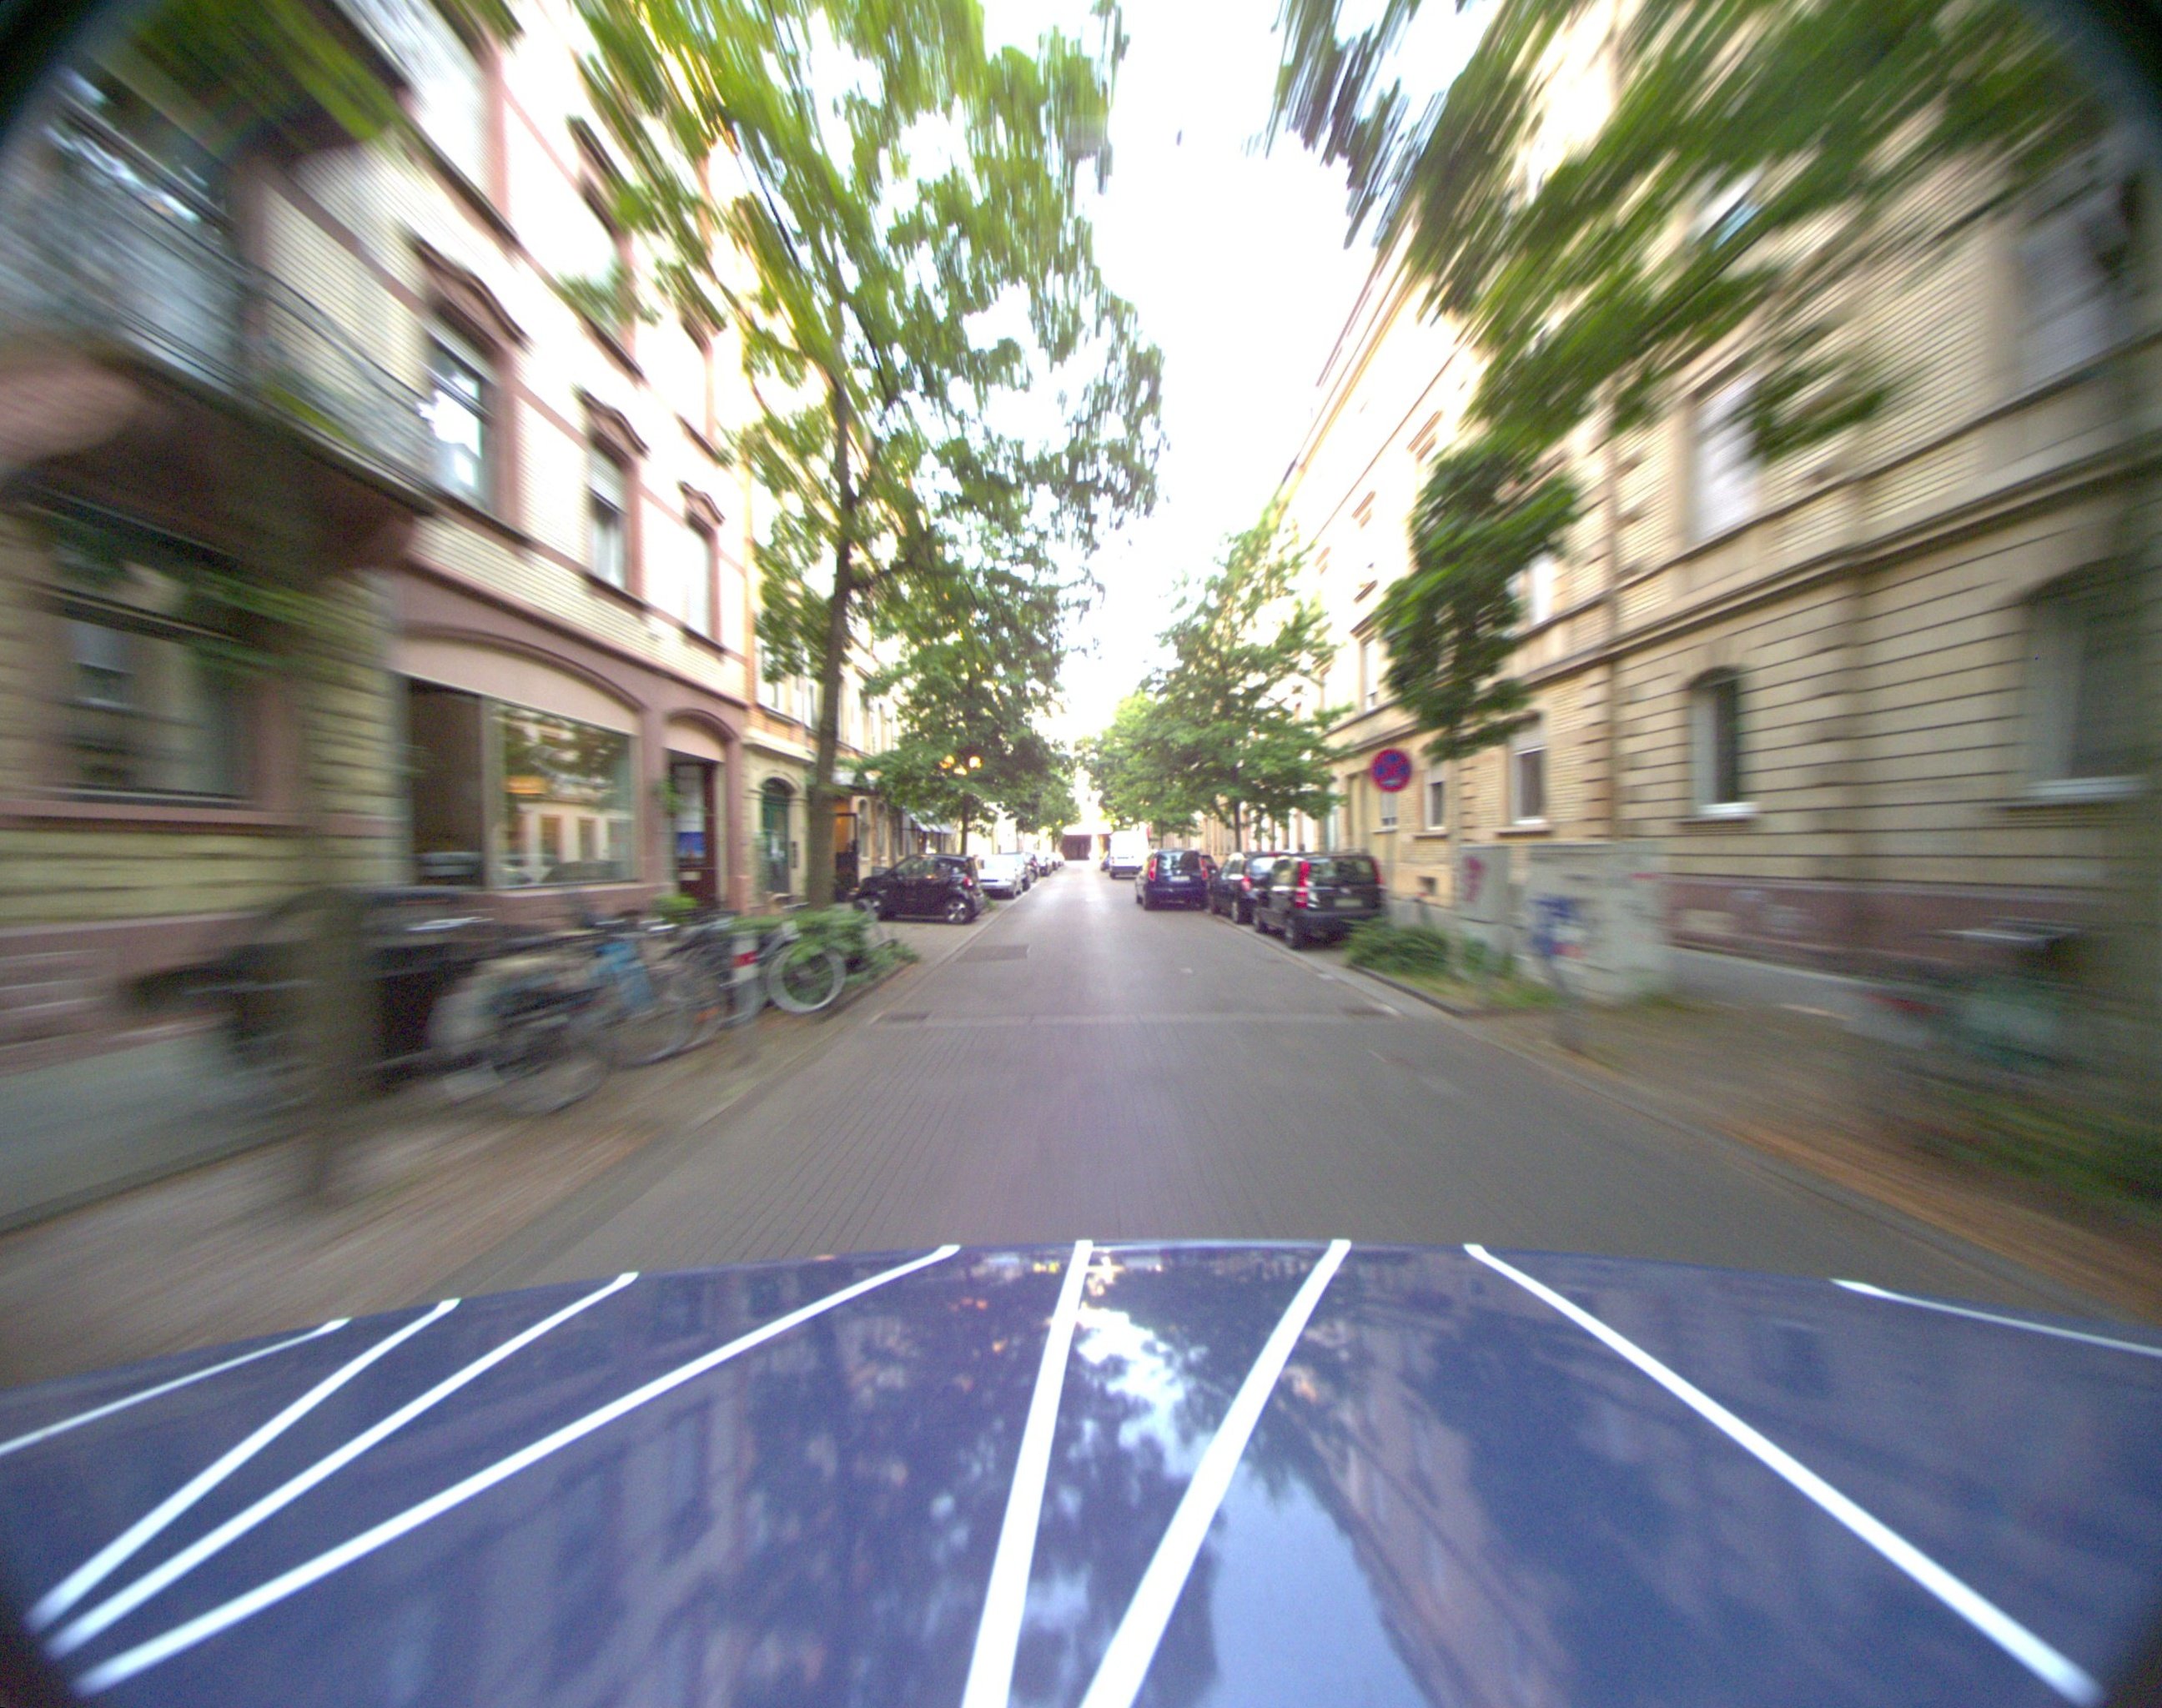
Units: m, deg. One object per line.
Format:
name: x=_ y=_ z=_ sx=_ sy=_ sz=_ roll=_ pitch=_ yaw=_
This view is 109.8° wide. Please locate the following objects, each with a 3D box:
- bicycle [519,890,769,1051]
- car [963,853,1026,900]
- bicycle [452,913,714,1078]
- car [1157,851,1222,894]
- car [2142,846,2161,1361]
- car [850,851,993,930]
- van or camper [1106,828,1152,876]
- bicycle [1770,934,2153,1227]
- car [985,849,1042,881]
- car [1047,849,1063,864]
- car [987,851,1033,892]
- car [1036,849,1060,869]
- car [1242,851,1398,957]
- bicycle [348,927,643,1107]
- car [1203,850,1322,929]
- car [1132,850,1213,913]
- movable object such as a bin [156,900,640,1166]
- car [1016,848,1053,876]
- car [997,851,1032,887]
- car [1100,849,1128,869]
bicycle: x=-3.866 y=1.004 z=6.835 sx=1.766 sy=1.286 sz=0.801 roll=1 pitch=1 yaw=0
car: x=-2.943 y=0.729 z=26.620 sx=1.737 sy=1.482 sz=4.103 roll=-1 pitch=1 yaw=0
bicycle: x=-3.902 y=1.089 z=6.019 sx=1.700 sy=1.191 sz=0.582 roll=-1 pitch=1 yaw=3
car: x=4.016 y=0.649 z=28.853 sx=1.771 sy=1.454 sz=4.257 roll=-1 pitch=1 yaw=-1
car: x=4.096 y=0.761 z=0.420 sx=1.680 sy=1.598 sz=3.861 roll=-2 pitch=0 yaw=2
car: x=-3.537 y=0.781 z=17.231 sx=2.804 sy=1.590 sz=1.800 roll=2 pitch=1 yaw=1
van or camper: x=2.558 y=-0.119 z=41.946 sx=2.225 sy=2.417 sz=5.659 roll=-1 pitch=1 yaw=0
bicycle: x=4.451 y=1.032 z=3.832 sx=1.871 sy=1.054 sz=0.595 roll=-3 pitch=1 yaw=-19
car: x=-3.411 y=0.543 z=38.550 sx=2.721 sy=1.564 sz=1.526 roll=1 pitch=1 yaw=0
car: x=-2.745 y=0.283 z=80.707 sx=1.657 sy=1.501 sz=3.868 roll=-1 pitch=1 yaw=-2
car: x=-2.850 y=0.665 z=30.994 sx=1.595 sy=1.551 sz=3.122 roll=-1 pitch=1 yaw=-1
car: x=-2.774 y=0.390 z=63.972 sx=1.835 sy=1.530 sz=4.123 roll=-1 pitch=1 yaw=0
car: x=3.956 y=0.743 z=13.134 sx=1.523 sy=1.493 sz=3.560 roll=-2 pitch=1 yaw=0
bicycle: x=-4.106 y=1.124 z=5.395 sx=1.662 sy=1.137 sz=0.582 roll=-1 pitch=1 yaw=3
car: x=3.926 y=0.692 z=17.059 sx=1.695 sy=1.493 sz=3.711 roll=-2 pitch=1 yaw=-1
car: x=2.451 y=0.686 z=21.287 sx=1.728 sy=1.564 sz=4.219 roll=-1 pitch=1 yaw=0
movable object such as a bin: x=-3.962 y=0.993 z=4.522 sx=2.220 sy=1.298 sz=0.771 roll=2 pitch=1 yaw=3
car: x=-2.829 y=0.449 z=46.972 sx=1.944 sy=1.621 sz=4.453 roll=-2 pitch=1 yaw=0
car: x=-2.957 y=0.639 z=34.382 sx=1.468 sy=1.543 sz=2.916 roll=0 pitch=1 yaw=-3
car: x=2.472 y=0.353 z=57.641 sx=1.665 sy=1.448 sz=4.282 roll=0 pitch=1 yaw=-4
